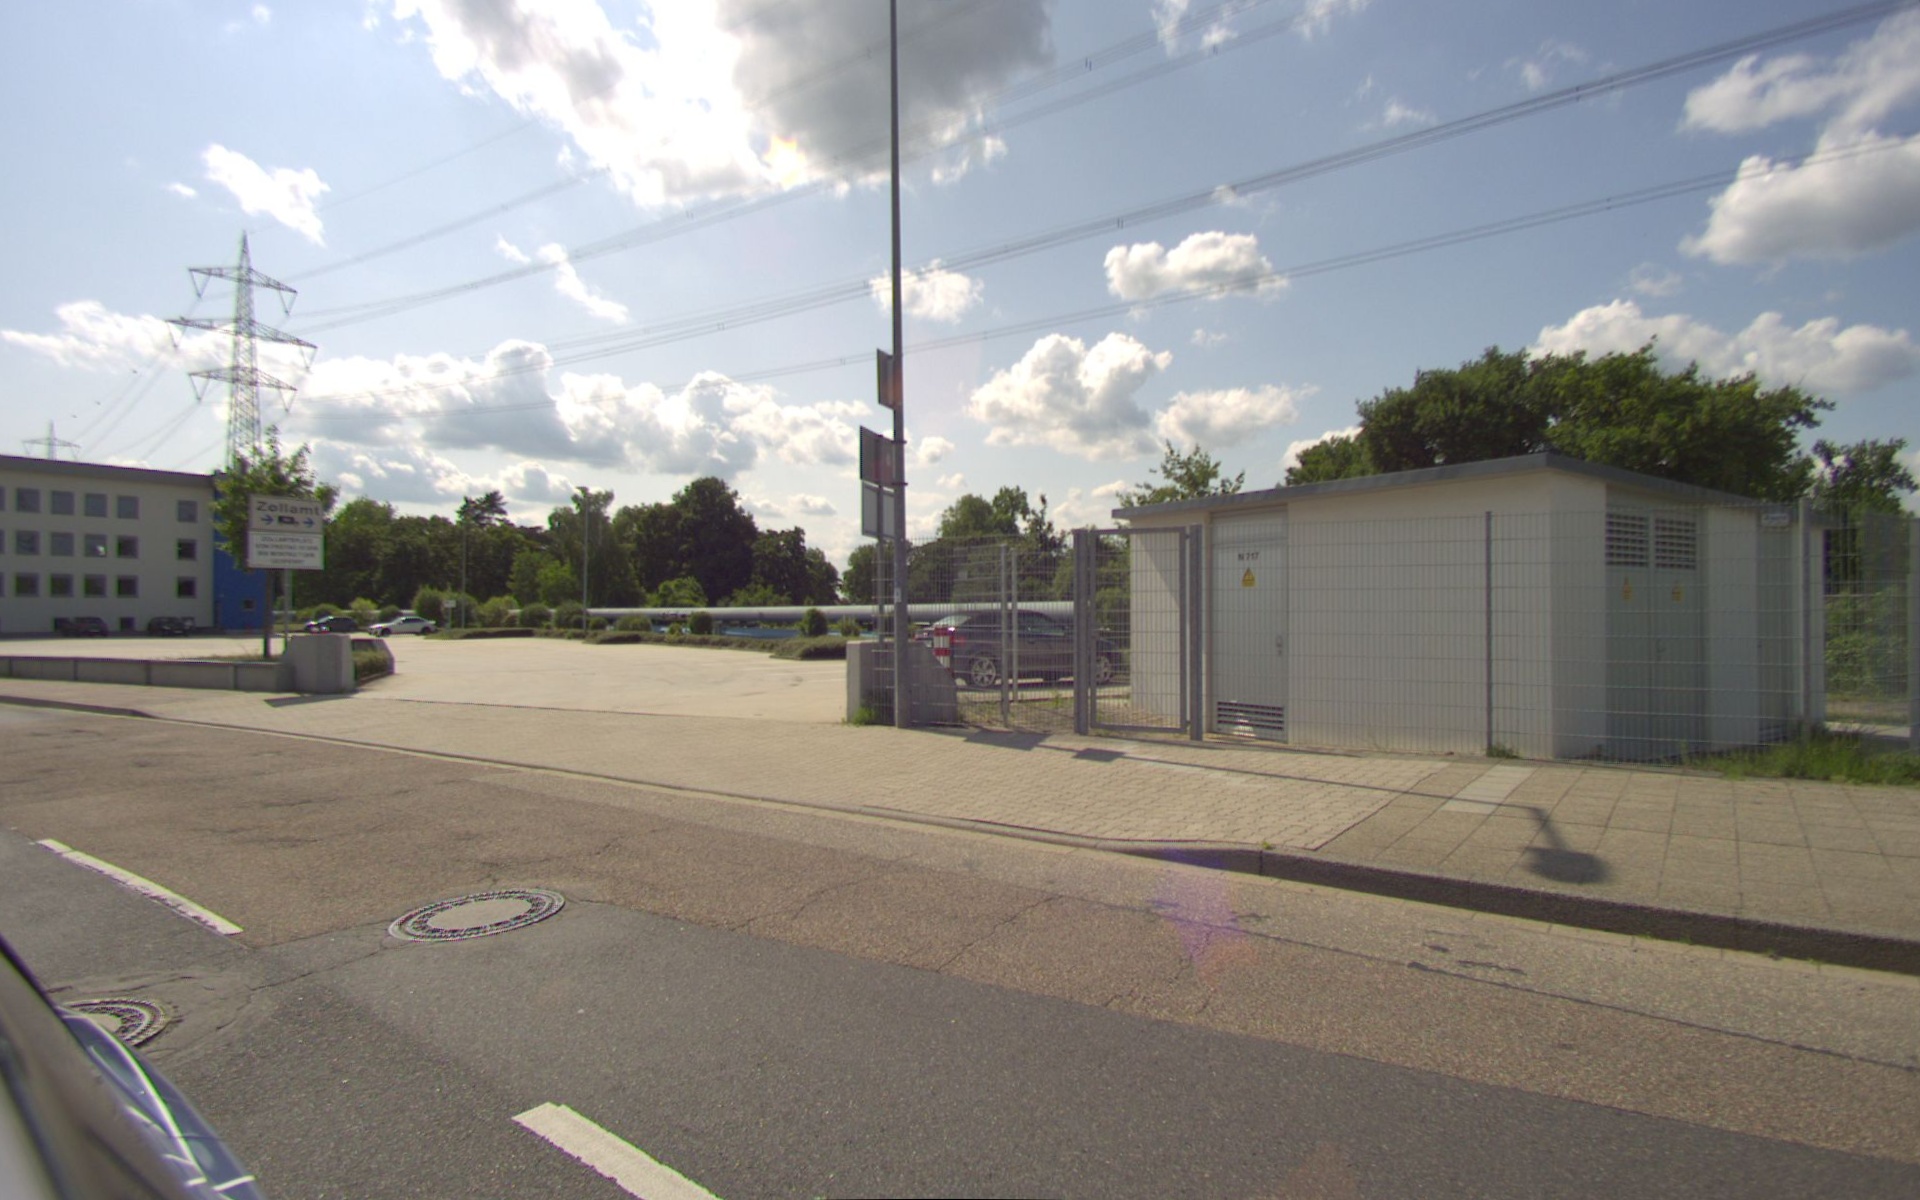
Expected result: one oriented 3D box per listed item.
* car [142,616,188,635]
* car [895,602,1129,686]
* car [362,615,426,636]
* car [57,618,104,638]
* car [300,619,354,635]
[{"bbox_3d":[-59.880,1.906,76.218,3.668,1.386,1.550,0,-1,32],"label":"car"},{"bbox_3d":[0.977,0.748,18.660,3.931,1.388,1.809,0,-1,-28],"label":"car"},{"bbox_3d":[-41.881,1.867,74.907,1.802,1.485,3.774,-1,-1,41],"label":"car"},{"bbox_3d":[-63.180,1.995,72.697,3.668,1.386,1.550,-1,-1,32],"label":"car"},{"bbox_3d":[-54.371,2.315,86.968,1.800,1.261,3.566,-1,-1,36],"label":"car"}]
